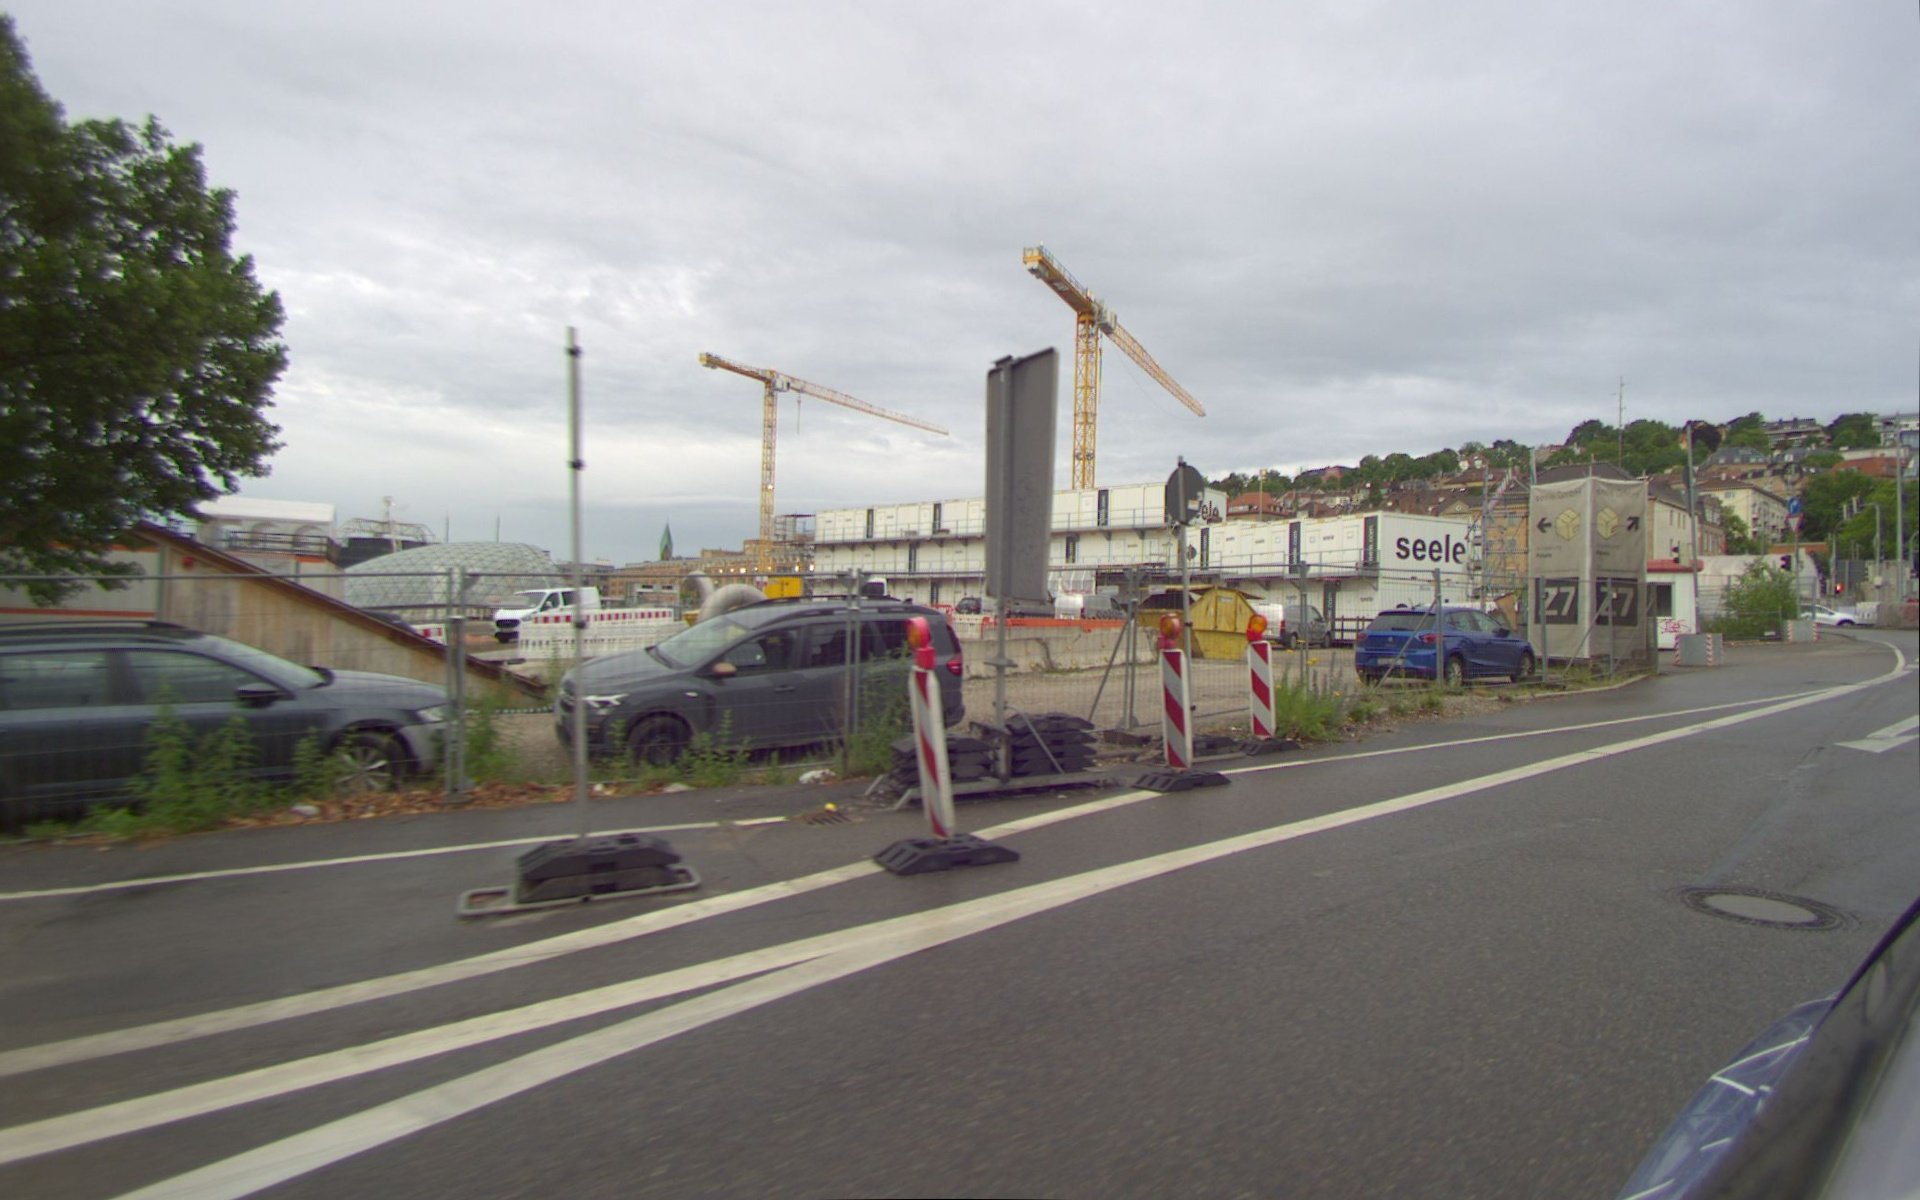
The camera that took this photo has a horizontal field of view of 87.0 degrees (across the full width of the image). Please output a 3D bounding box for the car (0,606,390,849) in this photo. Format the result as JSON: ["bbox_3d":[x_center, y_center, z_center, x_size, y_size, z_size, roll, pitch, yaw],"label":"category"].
[{"bbox_3d":[-7.086,0.955,8.176,1.851,1.502,3.938,2,5,44],"label":"car"}]

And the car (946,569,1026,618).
[{"bbox_3d":[1.525,-0.394,57.483,1.989,2.591,4.918,3,3,36],"label":"car"}]

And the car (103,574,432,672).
[{"bbox_3d":[-10.547,0.301,15.602,1.711,1.323,3.937,-1,0,44],"label":"car"}]

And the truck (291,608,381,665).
[{"bbox_3d":[-24.929,1.492,40.327,2.367,2.079,5.555,0,-3,-39],"label":"truck"}]

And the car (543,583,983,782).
[{"bbox_3d":[-2.113,0.746,11.150,4.325,1.668,1.931,0,5,-31],"label":"car"}]

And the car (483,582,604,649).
[{"bbox_3d":[-16.326,0.511,40.000,1.924,2.306,5.250,2,2,10],"label":"car"}]

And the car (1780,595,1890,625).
[{"bbox_3d":[49.856,0.549,57.797,4.533,1.489,1.975,2,2,36],"label":"car"}]

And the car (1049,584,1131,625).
[{"bbox_3d":[6.705,0.200,51.853,1.989,1.910,4.918,3,3,36],"label":"car"}]

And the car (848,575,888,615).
[{"bbox_3d":[-5.816,-0.354,63.502,2.106,2.412,4.411,1,2,-10],"label":"car"}]

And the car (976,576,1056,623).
[{"bbox_3d":[3.122,-0.070,55.651,1.989,2.472,4.918,2,2,37],"label":"car"}]

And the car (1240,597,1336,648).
[{"bbox_3d":[13.630,0.885,41.899,2.013,1.925,4.582,2,1,43],"label":"car"}]

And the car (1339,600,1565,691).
[{"bbox_3d":[9.030,0.756,18.462,4.329,1.460,1.838,0,-1,-36],"label":"car"}]
